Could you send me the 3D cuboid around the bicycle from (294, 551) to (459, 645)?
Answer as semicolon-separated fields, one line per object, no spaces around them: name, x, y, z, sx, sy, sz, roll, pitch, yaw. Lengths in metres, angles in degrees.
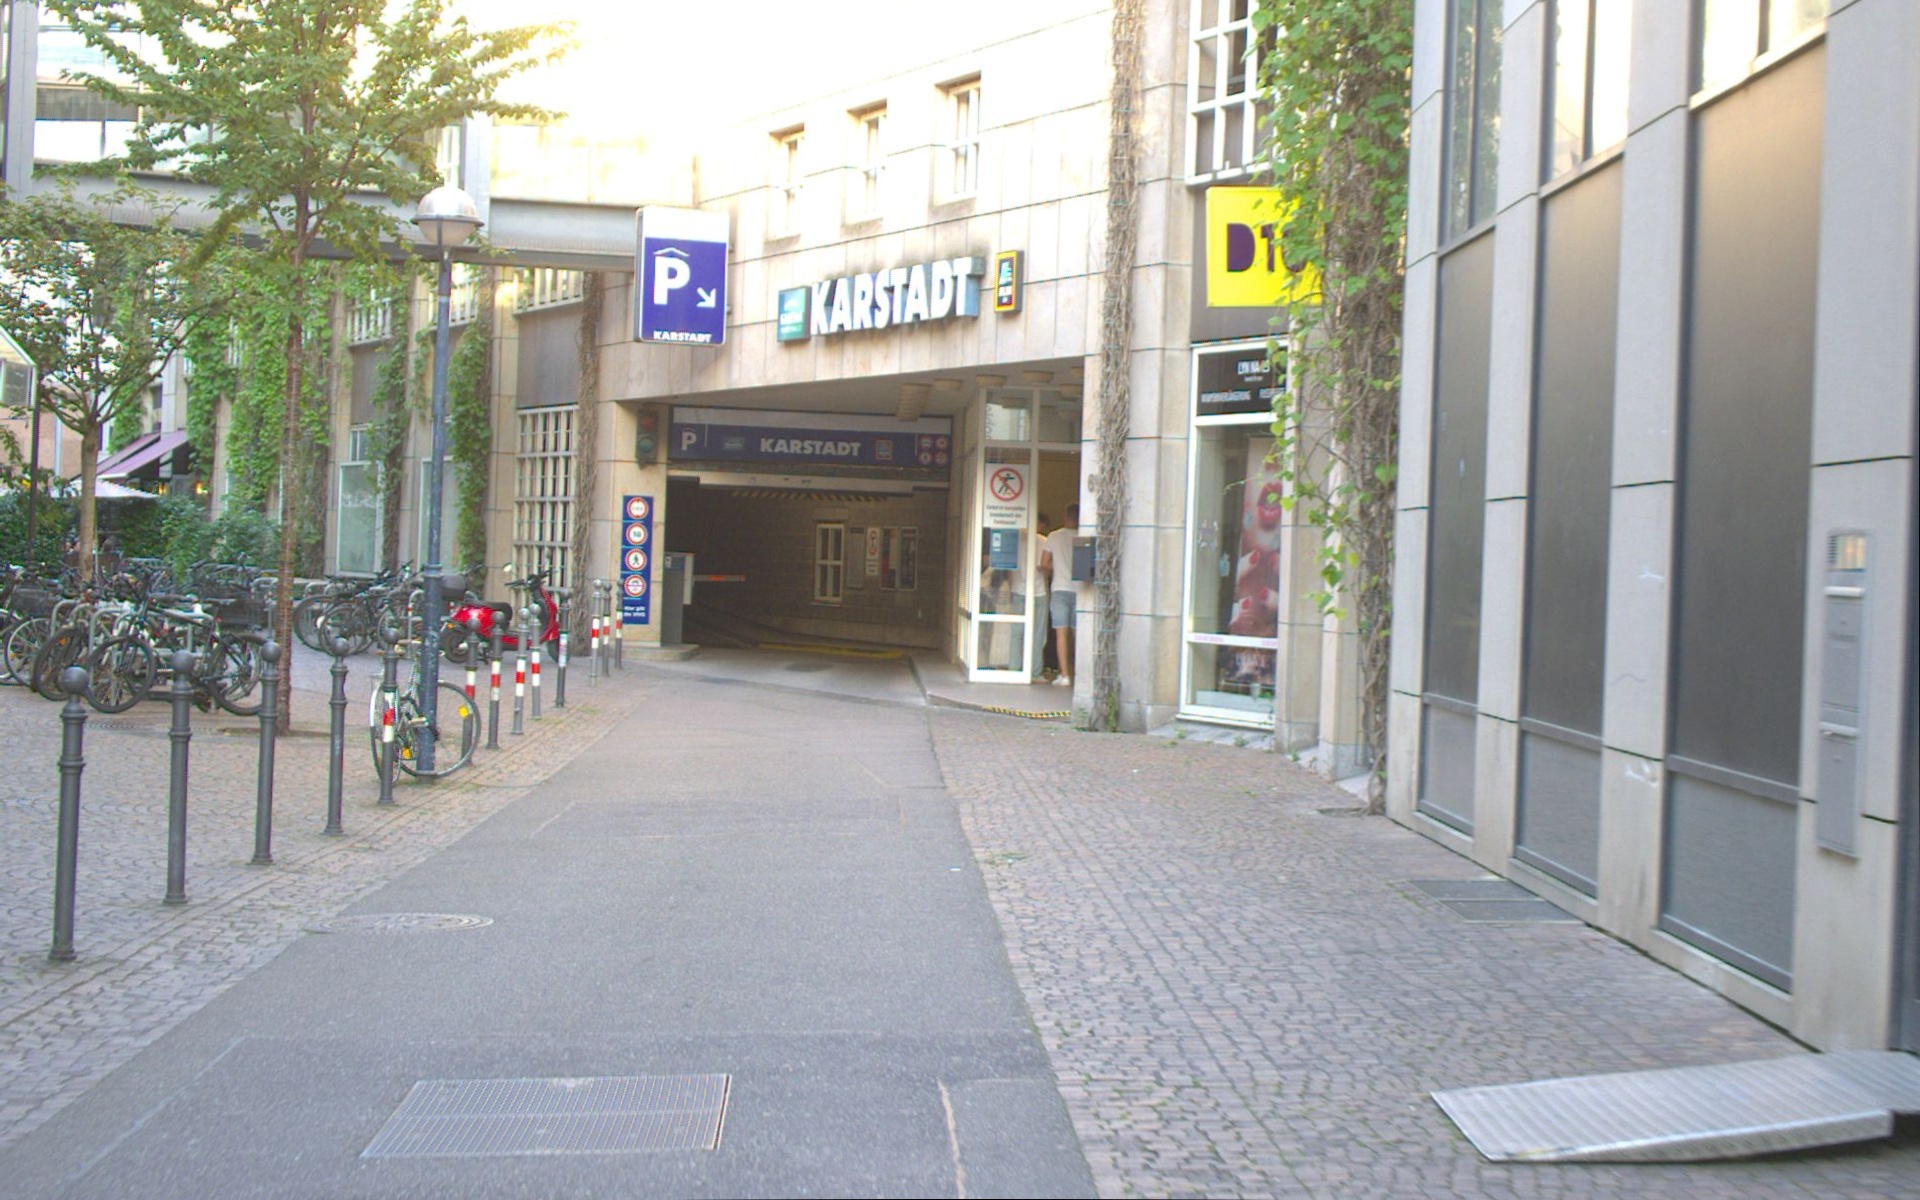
bicycle;-7.571;-0.035;44.608;1.993;1.178;0.803;0;1;-21

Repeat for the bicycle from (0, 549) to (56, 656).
bicycle;-11.224;0.006;38.800;1.912;1.178;0.696;2;1;-18

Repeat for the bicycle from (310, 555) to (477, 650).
bicycle;-7.206;0.027;43.737;1.993;1.178;0.696;0;1;-21

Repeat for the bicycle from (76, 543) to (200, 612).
bicycle;-14.167;-0.393;59.245;1.993;1.178;0.694;0;1;-21

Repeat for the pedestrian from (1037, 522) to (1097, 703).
pedestrian;1.119;0.125;35.915;0.542;1.855;0.408;2;2;5

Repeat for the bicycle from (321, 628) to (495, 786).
bicycle;-3.632;0.688;22.744;0.505;0.963;1.694;2;1;13

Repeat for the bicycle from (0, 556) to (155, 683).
bicycle;-8.847;0.182;33.383;1.912;1.178;0.696;2;1;-18

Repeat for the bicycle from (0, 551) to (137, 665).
bicycle;-9.890;0.083;37.052;1.912;1.178;0.696;2;1;-18

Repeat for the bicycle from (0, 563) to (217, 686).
bicycle;-8.052;0.235;32.502;1.912;1.098;0.696;2;1;-18

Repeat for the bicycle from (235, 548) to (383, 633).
bicycle;-9.282;-0.146;49.026;1.993;1.178;0.694;0;1;-21

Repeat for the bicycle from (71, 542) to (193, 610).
bicycle;-14.466;-0.427;60.048;1.993;1.178;0.694;0;1;-21

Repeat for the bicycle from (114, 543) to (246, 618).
bicycle;-12.579;-0.320;55.434;1.993;1.178;0.694;0;1;-21

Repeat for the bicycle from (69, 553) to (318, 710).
bicycle;-6.472;0.263;29.020;1.912;1.256;0.809;1;1;-21

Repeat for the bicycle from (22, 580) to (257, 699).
bicycle;-7.259;0.353;30.416;1.912;0.991;0.696;1;1;-21

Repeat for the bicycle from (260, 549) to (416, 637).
bicycle;-8.540;-0.102;47.173;1.993;1.178;0.803;0;1;-21

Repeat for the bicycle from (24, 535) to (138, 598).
bicycle;-16.488;-0.632;64.487;1.993;1.178;0.694;0;1;-21

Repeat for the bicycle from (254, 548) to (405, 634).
bicycle;-8.829;-0.141;48.154;1.993;1.178;0.694;0;1;-21

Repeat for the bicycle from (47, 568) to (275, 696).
bicycle;-7.283;0.292;31.334;1.912;1.098;0.696;1;1;-21

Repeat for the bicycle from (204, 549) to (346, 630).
bicycle;-10.220;-0.163;51.315;1.993;1.178;0.694;0;1;-21

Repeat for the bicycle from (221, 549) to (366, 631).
bicycle;-9.741;-0.156;50.253;1.993;1.178;0.694;0;1;-21

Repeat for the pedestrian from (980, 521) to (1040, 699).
pedestrian;0.524;0.097;36.137;0.542;1.840;0.408;2;2;5

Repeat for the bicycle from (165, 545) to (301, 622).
bicycle;-11.346;-0.272;53.648;1.993;1.178;0.694;0;1;-21

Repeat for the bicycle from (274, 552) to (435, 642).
bicycle;-8.058;-0.050;45.731;1.993;1.178;0.803;0;1;-21

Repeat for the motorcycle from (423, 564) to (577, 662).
motorcycle;-5.519;0.150;41.244;1.745;1.151;0.595;0;1;-18

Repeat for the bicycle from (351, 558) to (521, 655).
bicycle;-6.537;0.075;42.894;1.993;1.178;0.696;0;1;-21

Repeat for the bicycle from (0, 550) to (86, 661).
bicycle;-10.626;0.046;37.773;1.912;1.178;0.696;2;1;-18
